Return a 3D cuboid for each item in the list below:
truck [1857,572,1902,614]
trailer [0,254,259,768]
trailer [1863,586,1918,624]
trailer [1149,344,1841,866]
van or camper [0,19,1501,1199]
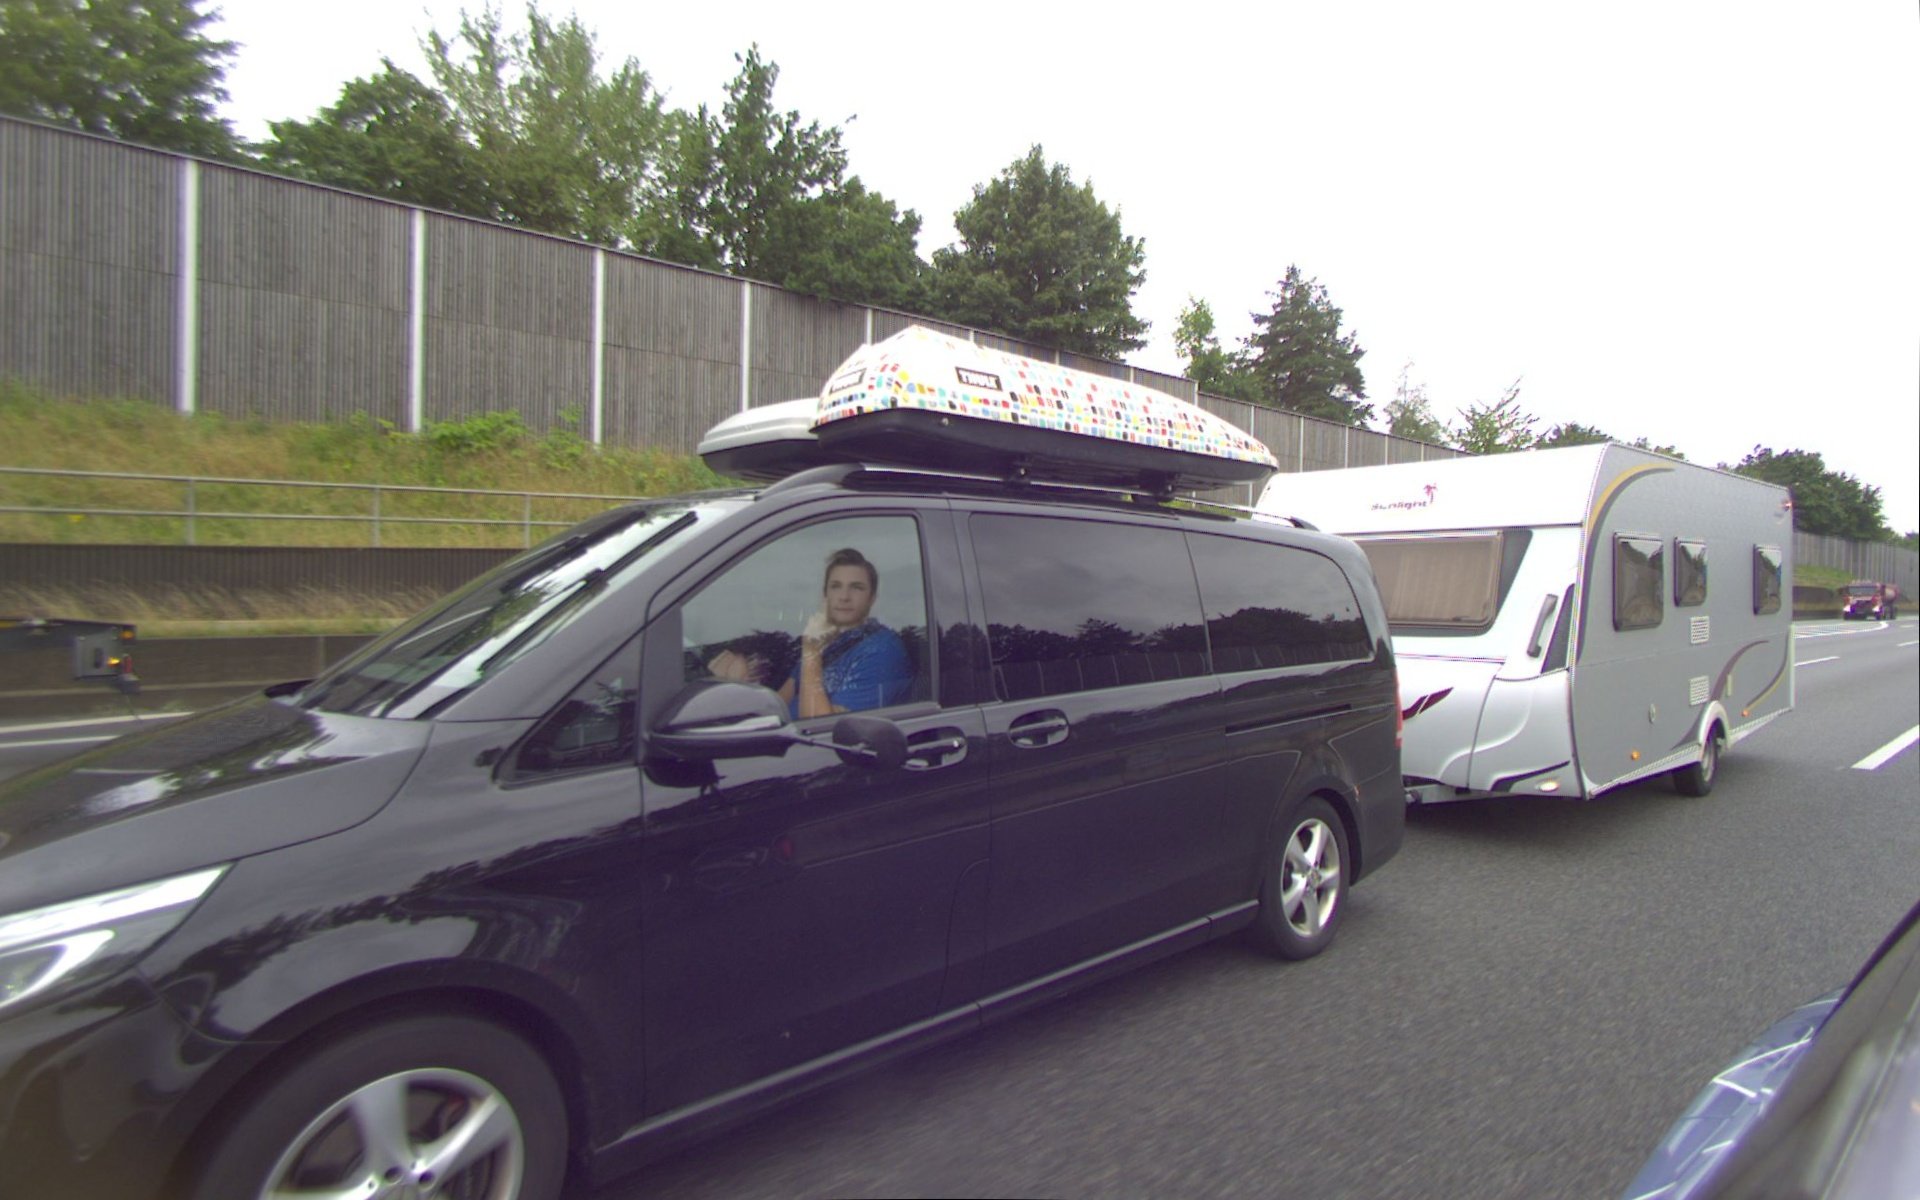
[{"bbox_3d":[79.158,-0.587,87.105,3.930,3.508,2.419,0,1,-41],"label":"truck"},{"bbox_3d":[-13.206,-0.629,4.515,16.398,4.003,2.654,-1,0,-42],"label":"trailer"},{"bbox_3d":[83.543,0.415,90.788,9.235,3.288,2.451,0,1,-40],"label":"trailer"},{"bbox_3d":[5.032,0.021,8.650,7.379,2.676,2.726,0,0,-41],"label":"trailer"},{"bbox_3d":[-0.008,0.260,3.975,5.580,2.298,1.894,0,1,-41],"label":"van or camper"}]
